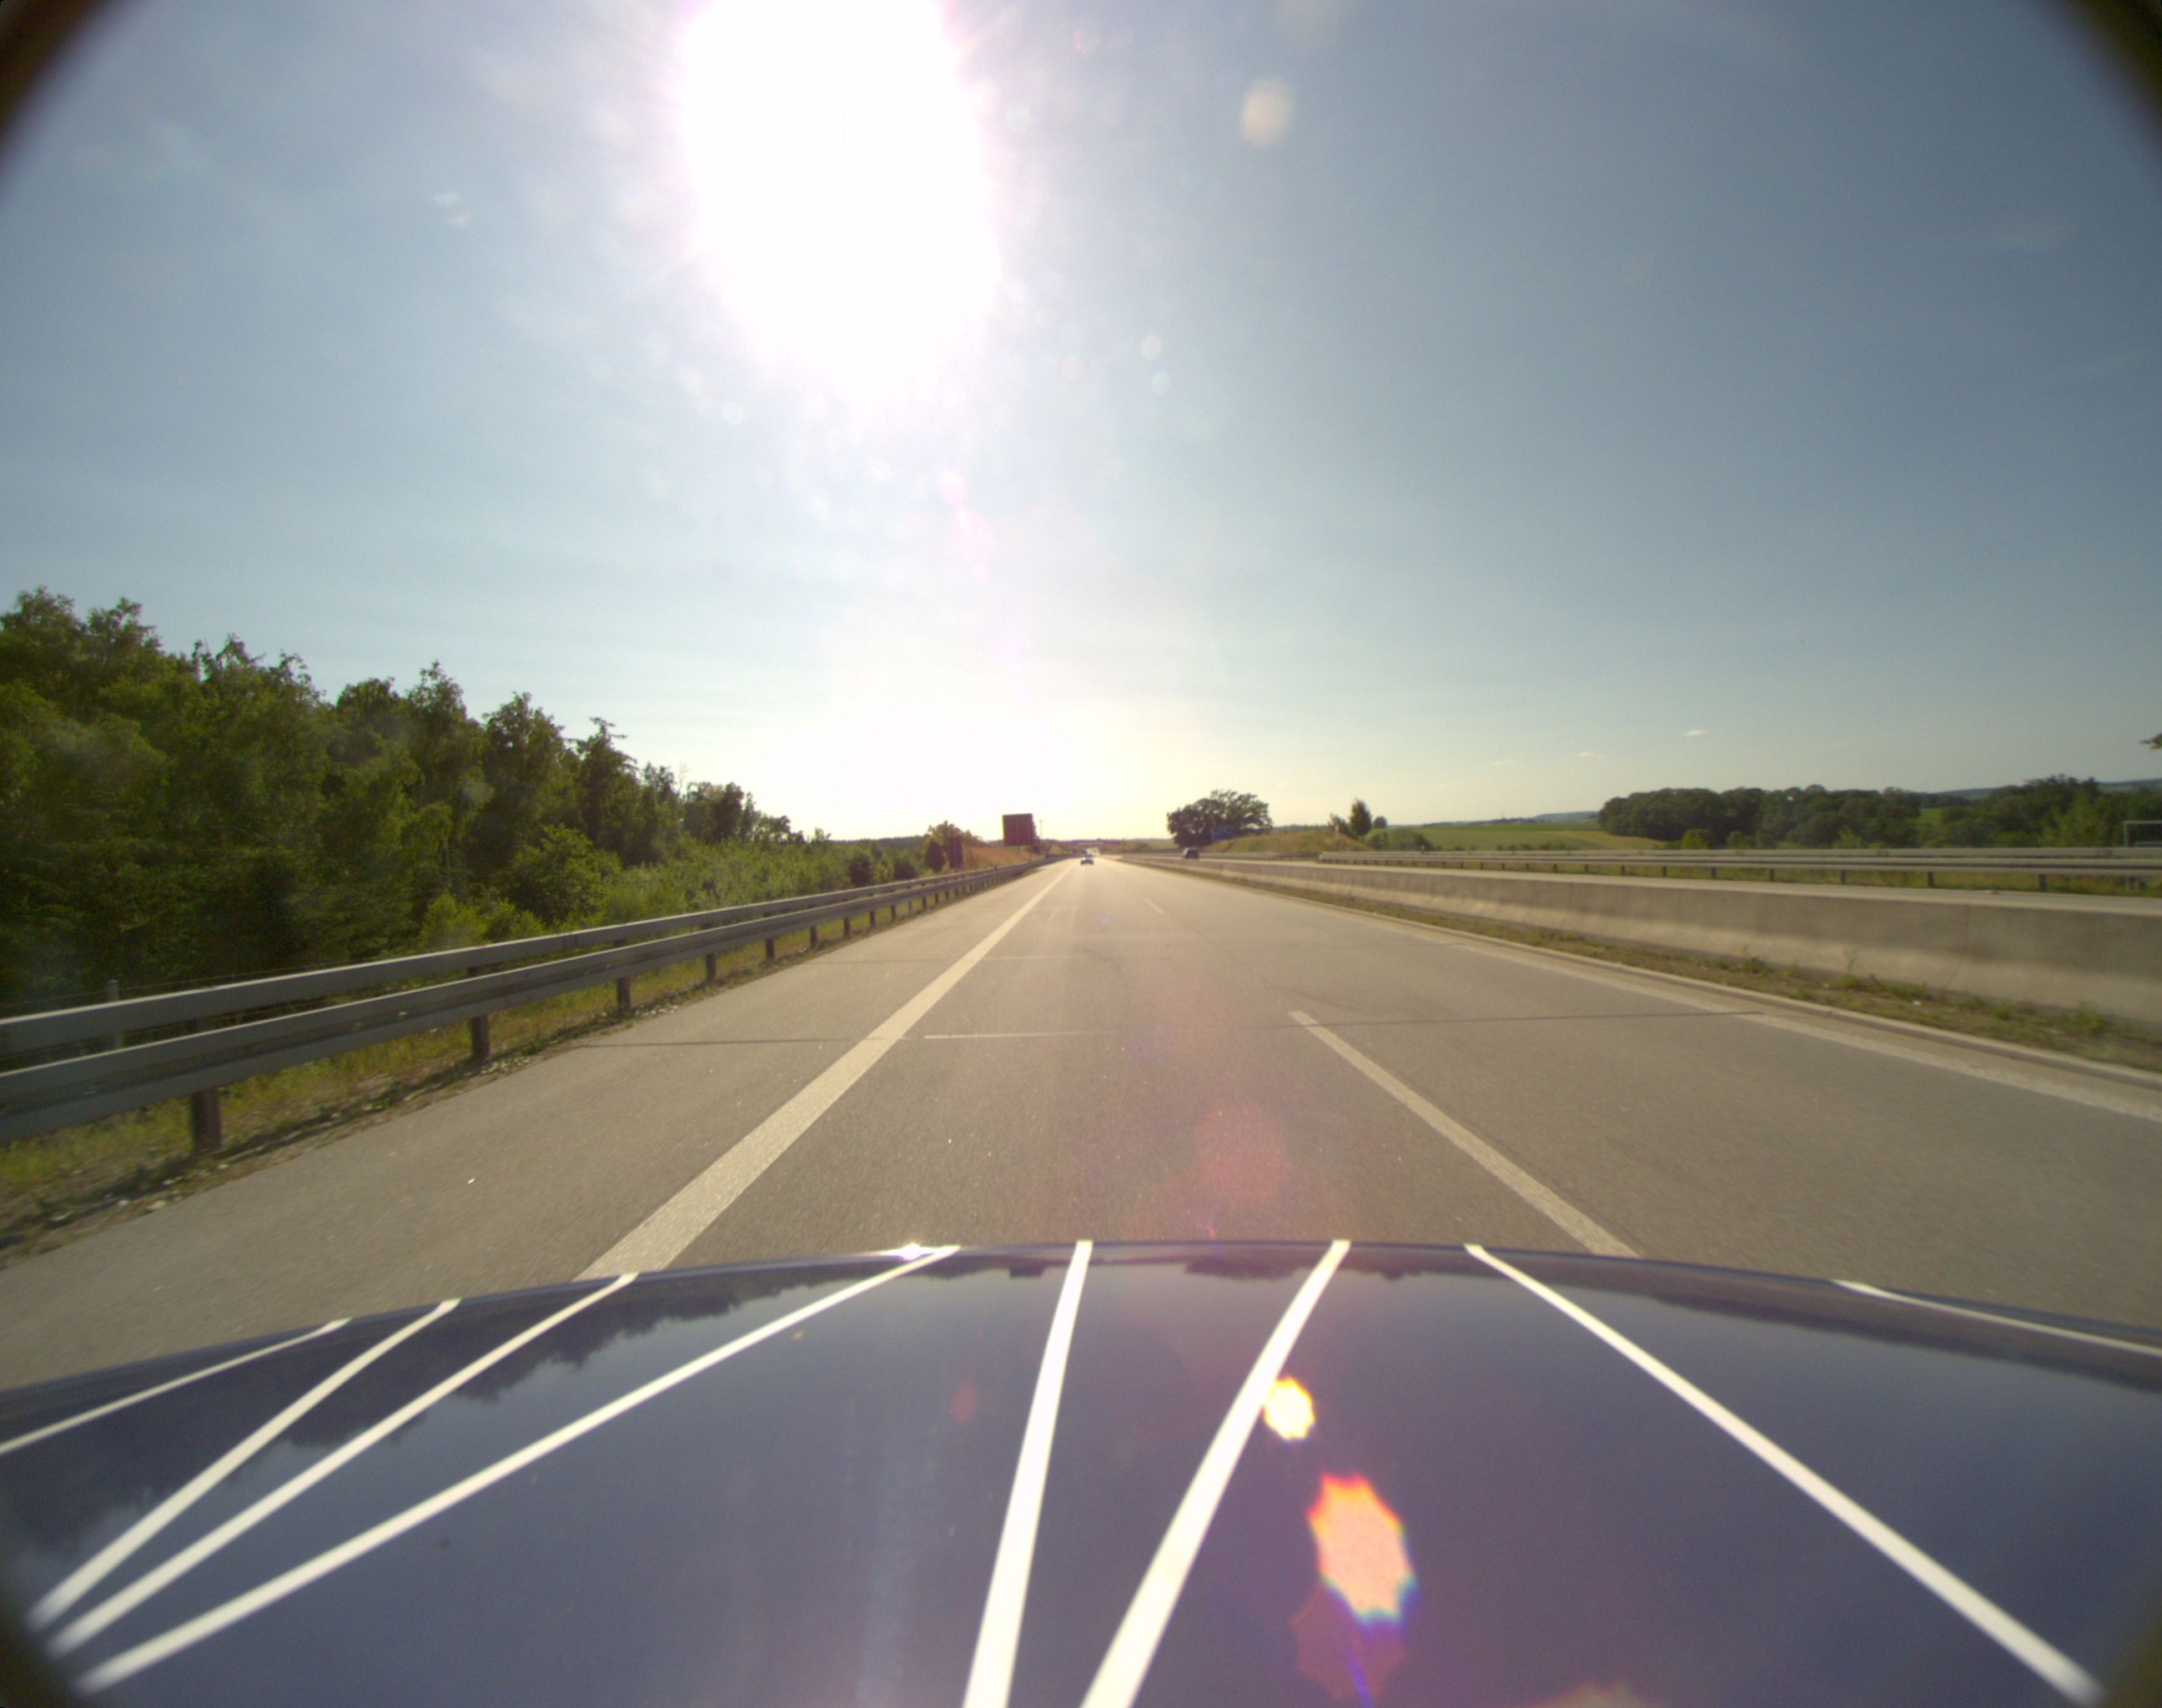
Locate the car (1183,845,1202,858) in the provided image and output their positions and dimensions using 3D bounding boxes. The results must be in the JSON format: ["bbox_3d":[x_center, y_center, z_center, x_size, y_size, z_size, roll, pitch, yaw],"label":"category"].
[{"bbox_3d":[15.080,-0.305,103.232,1.906,1.682,4.269,-2,0,1],"label":"car"}]

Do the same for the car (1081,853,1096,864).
[{"bbox_3d":[1.084,0.678,108.598,1.909,1.449,4.376,-2,0,2],"label":"car"}]
